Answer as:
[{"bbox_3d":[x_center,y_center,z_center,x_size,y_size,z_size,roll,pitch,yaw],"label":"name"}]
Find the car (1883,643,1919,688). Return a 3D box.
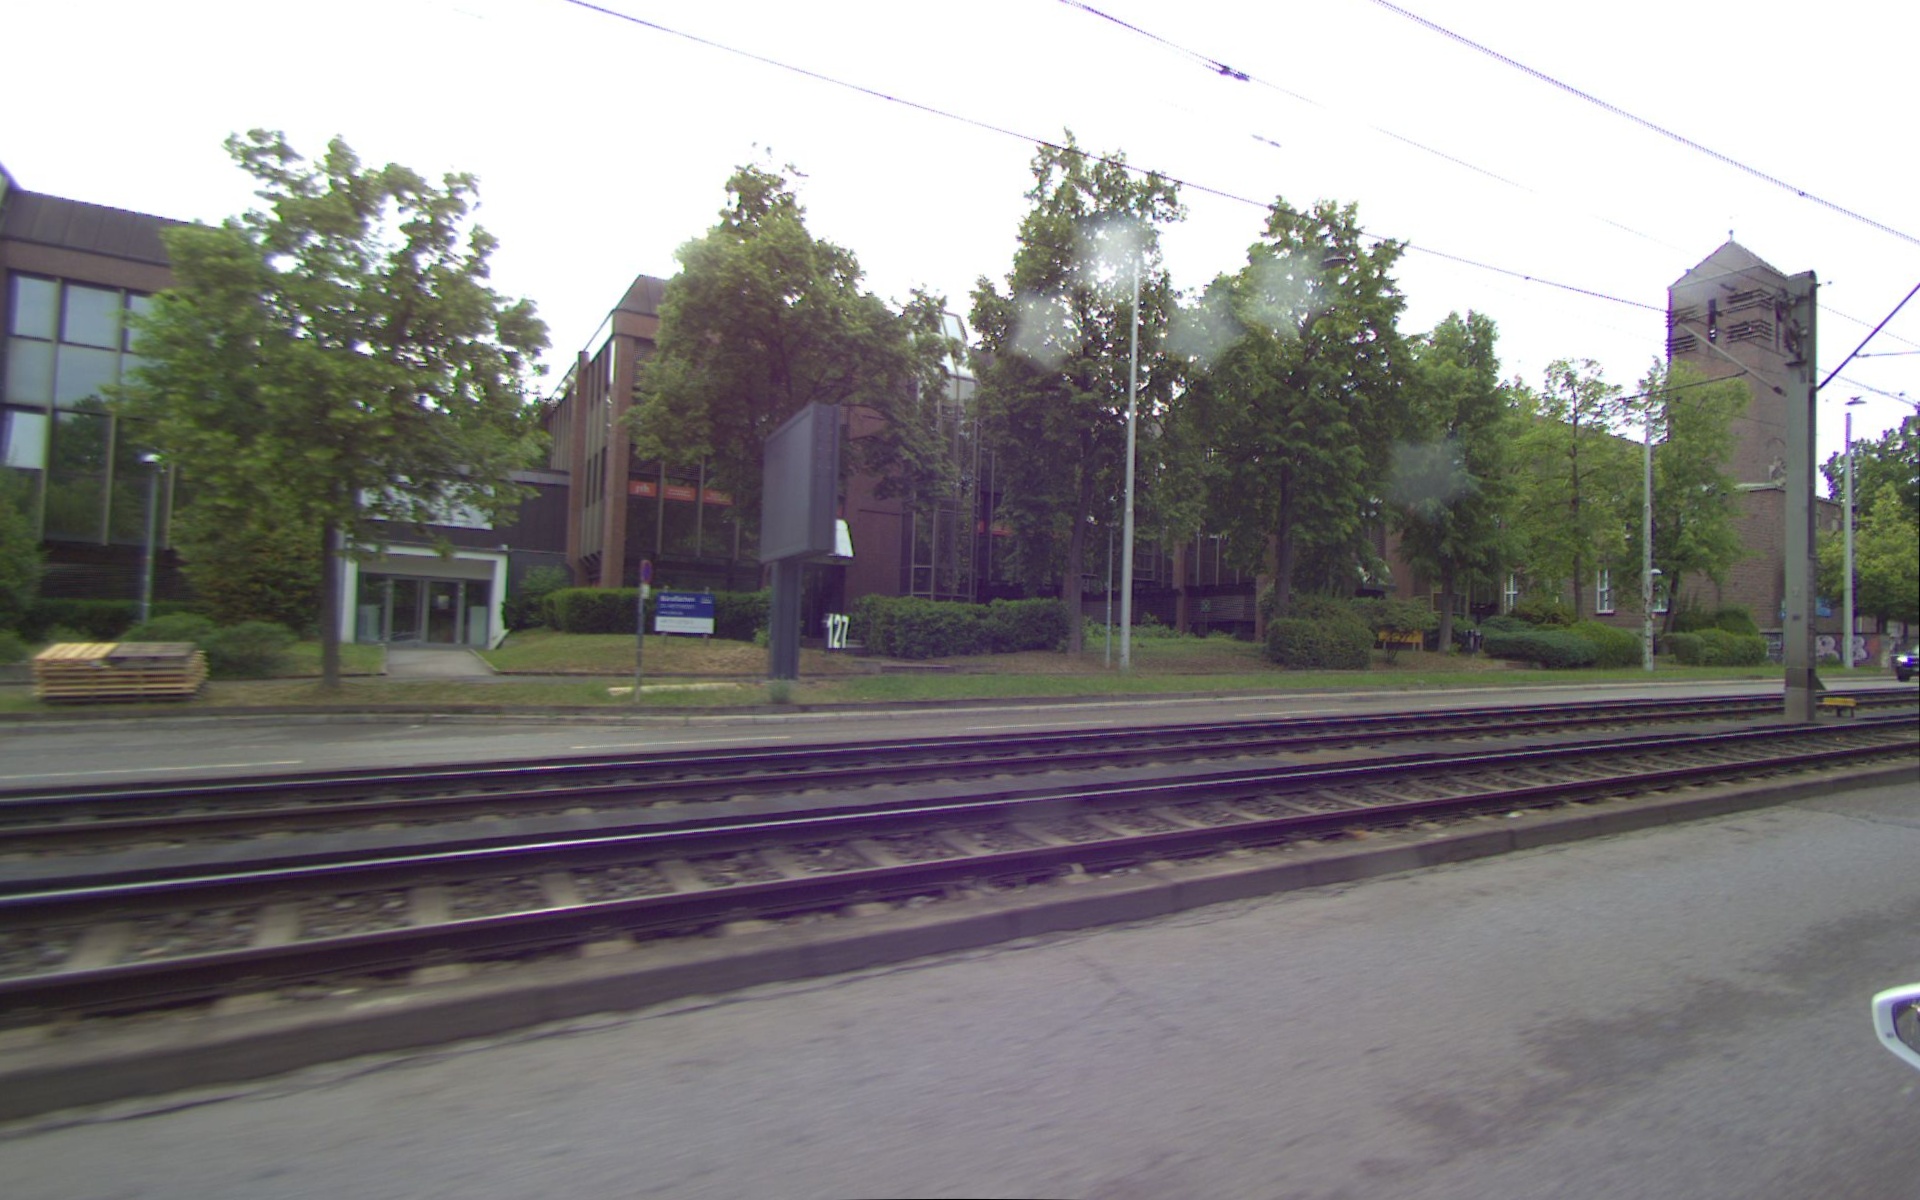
[{"bbox_3d":[38.801,2.568,39.654,4.557,1.678,2.006,1,-2,-27],"label":"car"}]
